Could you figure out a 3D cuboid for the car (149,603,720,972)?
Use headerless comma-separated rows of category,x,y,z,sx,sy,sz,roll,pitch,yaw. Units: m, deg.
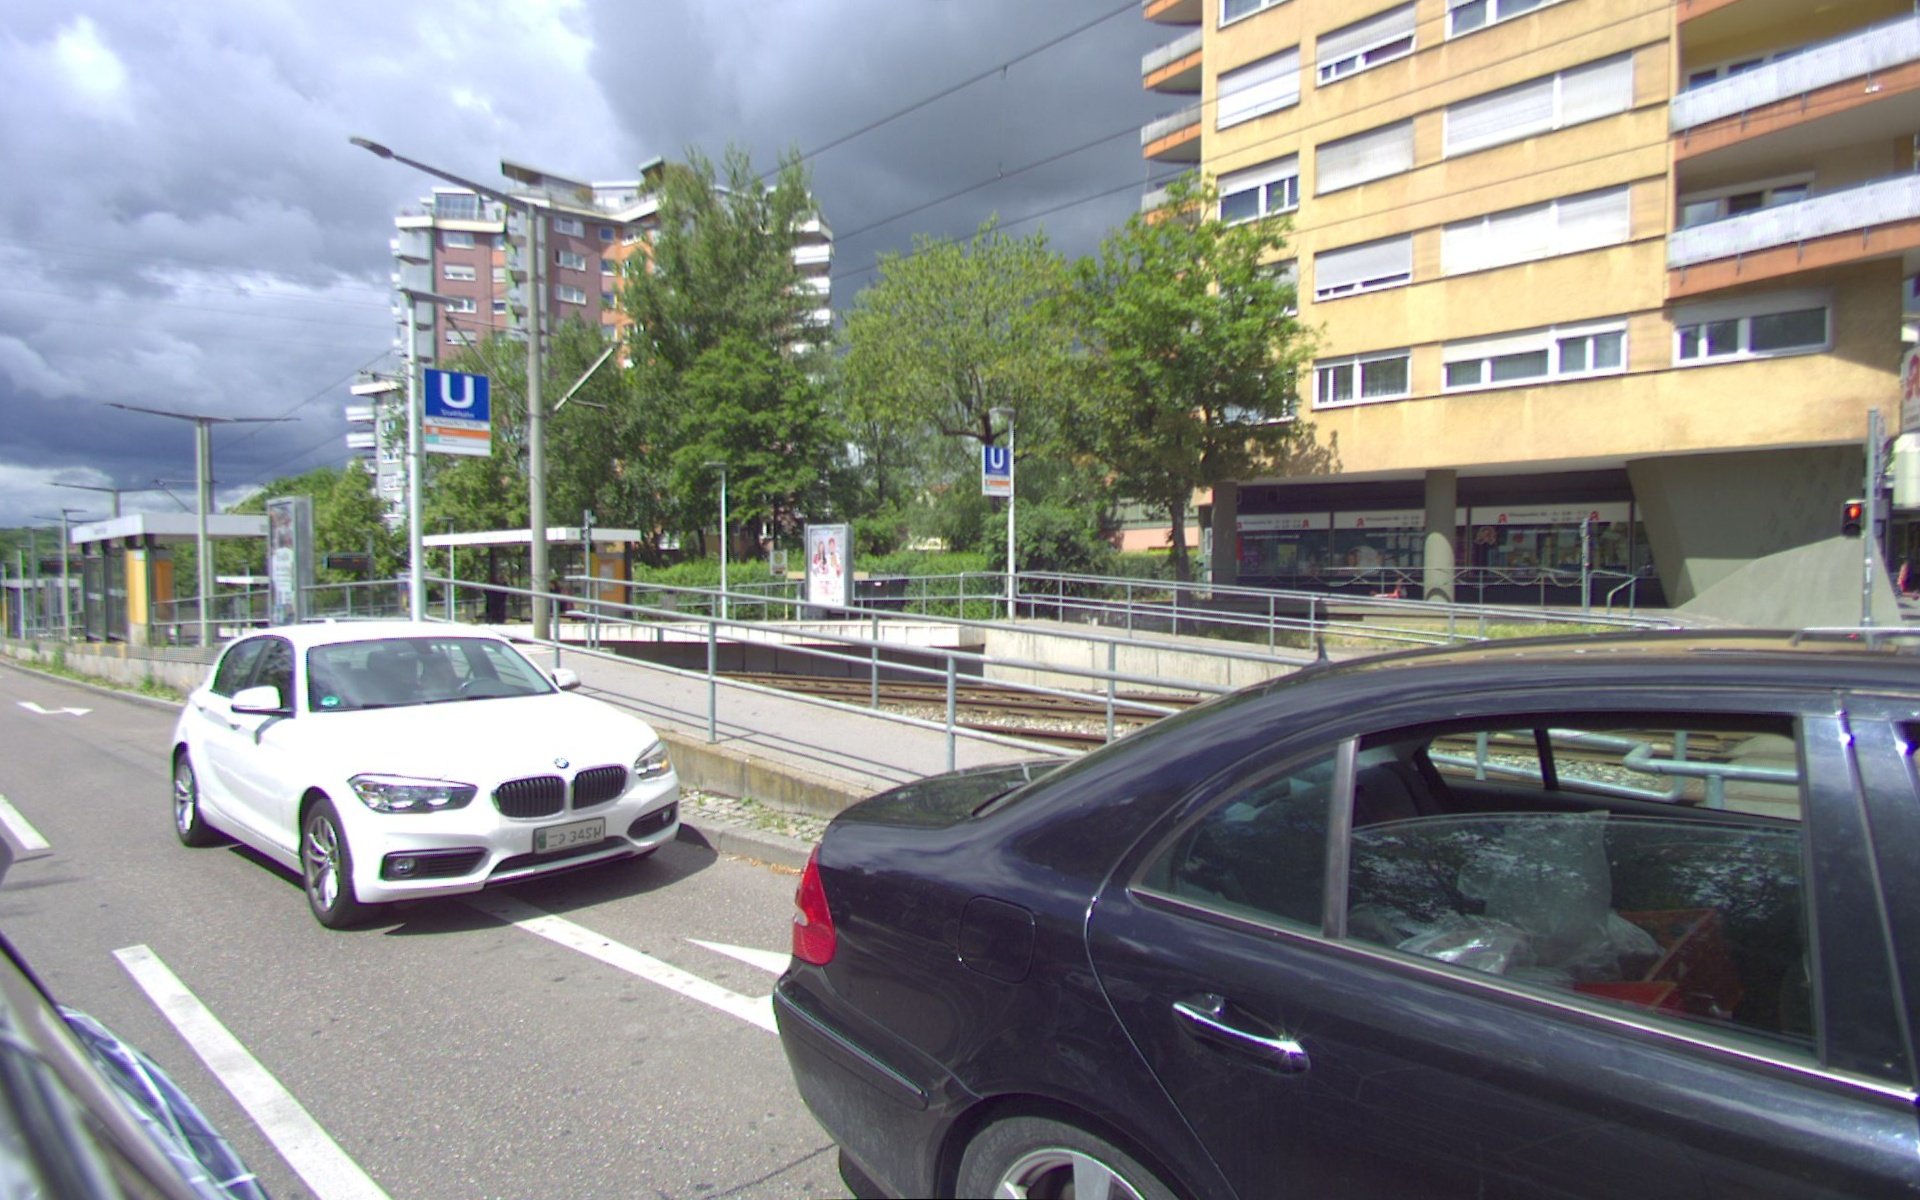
car,-3.345,0.785,6.073,3.998,1.472,1.710,-1,0,41

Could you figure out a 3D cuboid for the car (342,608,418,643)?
car,-28.426,1.253,49.556,4.459,1.647,1.972,-1,-2,42

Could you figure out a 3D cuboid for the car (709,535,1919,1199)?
car,1.705,0.661,1.415,4.542,1.472,1.710,-1,0,41
